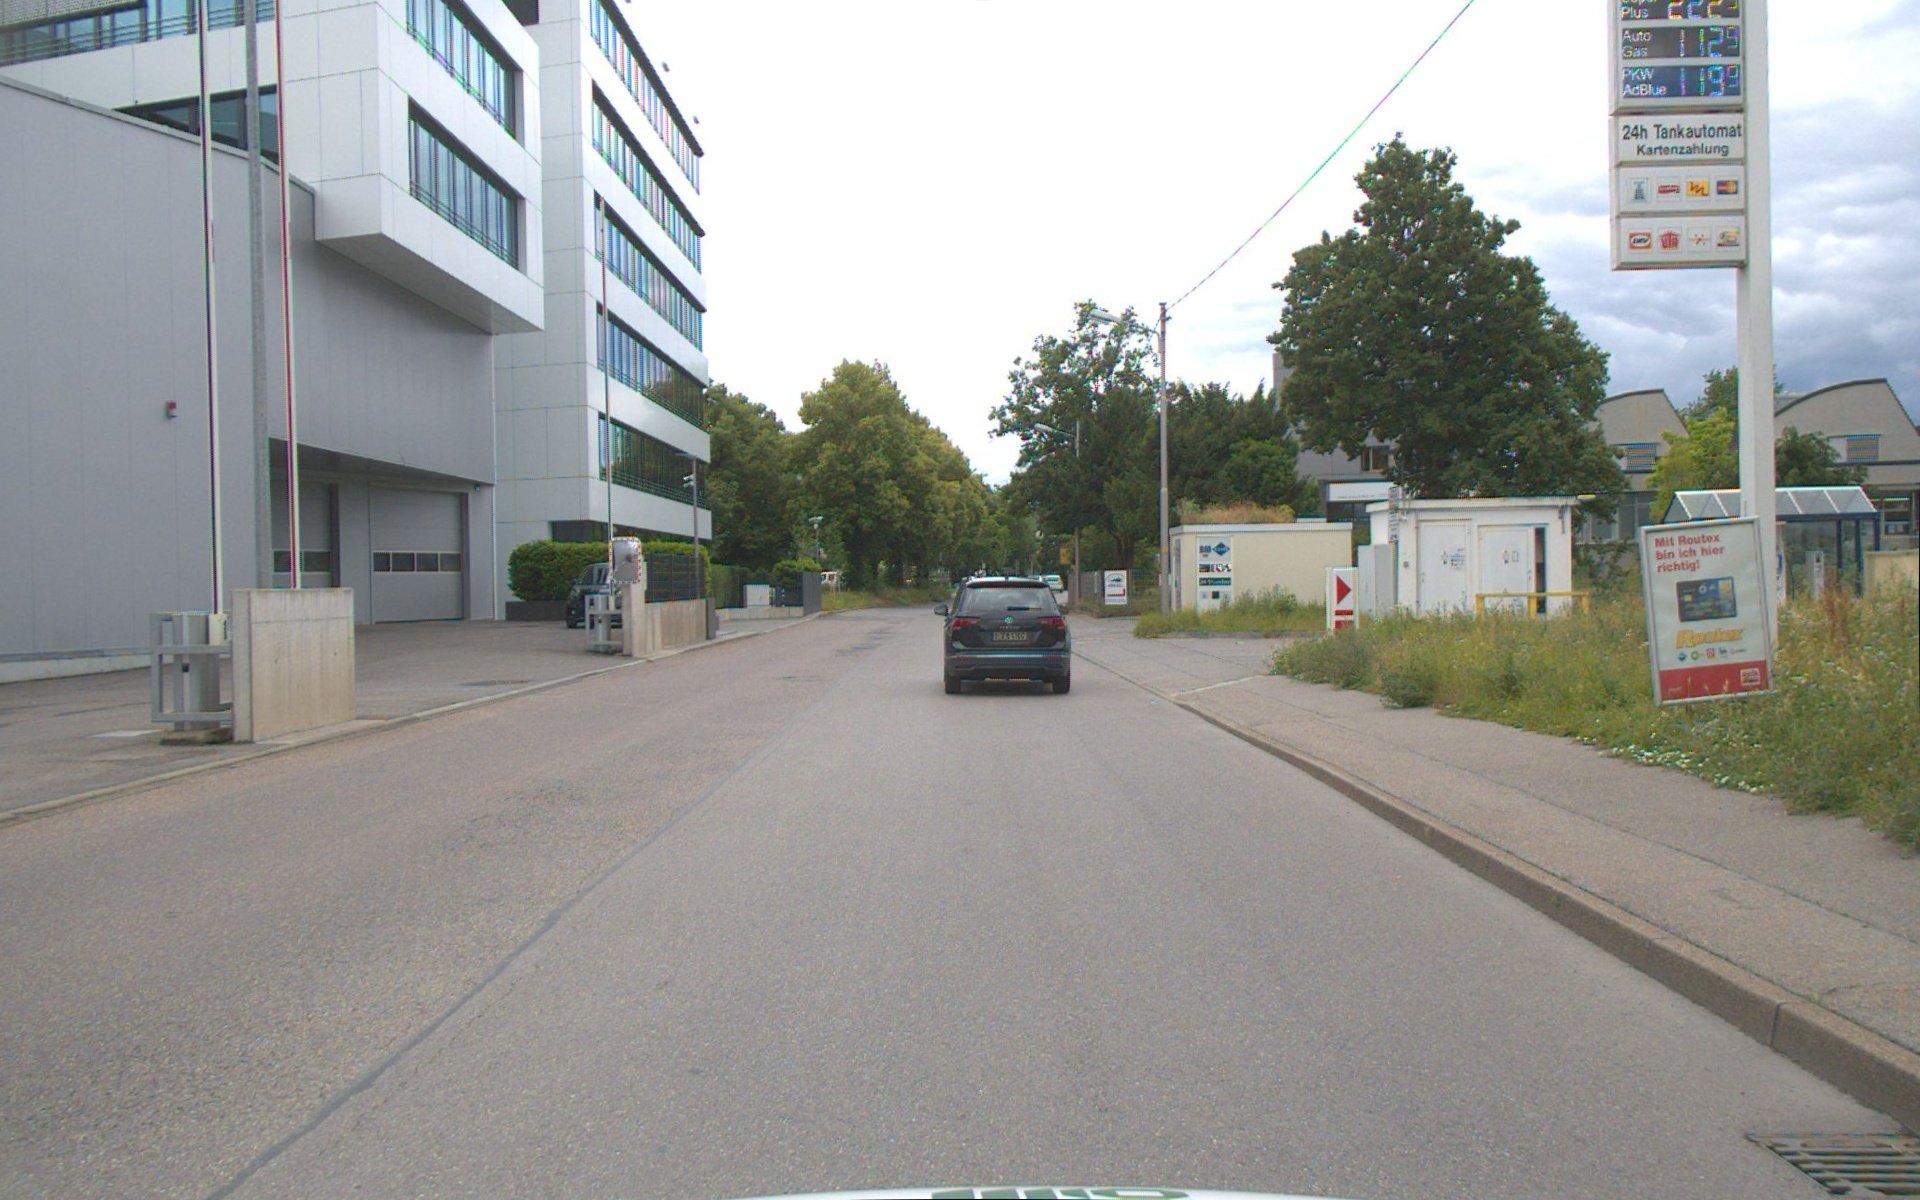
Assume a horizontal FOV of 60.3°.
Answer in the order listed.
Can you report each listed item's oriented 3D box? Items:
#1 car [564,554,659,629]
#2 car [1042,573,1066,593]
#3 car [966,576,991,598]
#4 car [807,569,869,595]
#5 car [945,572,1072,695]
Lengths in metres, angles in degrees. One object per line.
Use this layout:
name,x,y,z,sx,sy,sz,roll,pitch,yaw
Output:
car,-8.616,-0.220,41.069,1.616,1.792,3.179,0,0,1
car,8.500,-1.531,148.848,1.951,1.817,4.003,0,0,6
car,1.521,-1.092,137.384,1.769,1.795,4.208,0,0,5
car,-12.312,-1.851,166.663,5.944,2.429,2.395,-1,1,2
car,0.723,0.458,24.244,1.703,1.646,3.642,0,0,2
